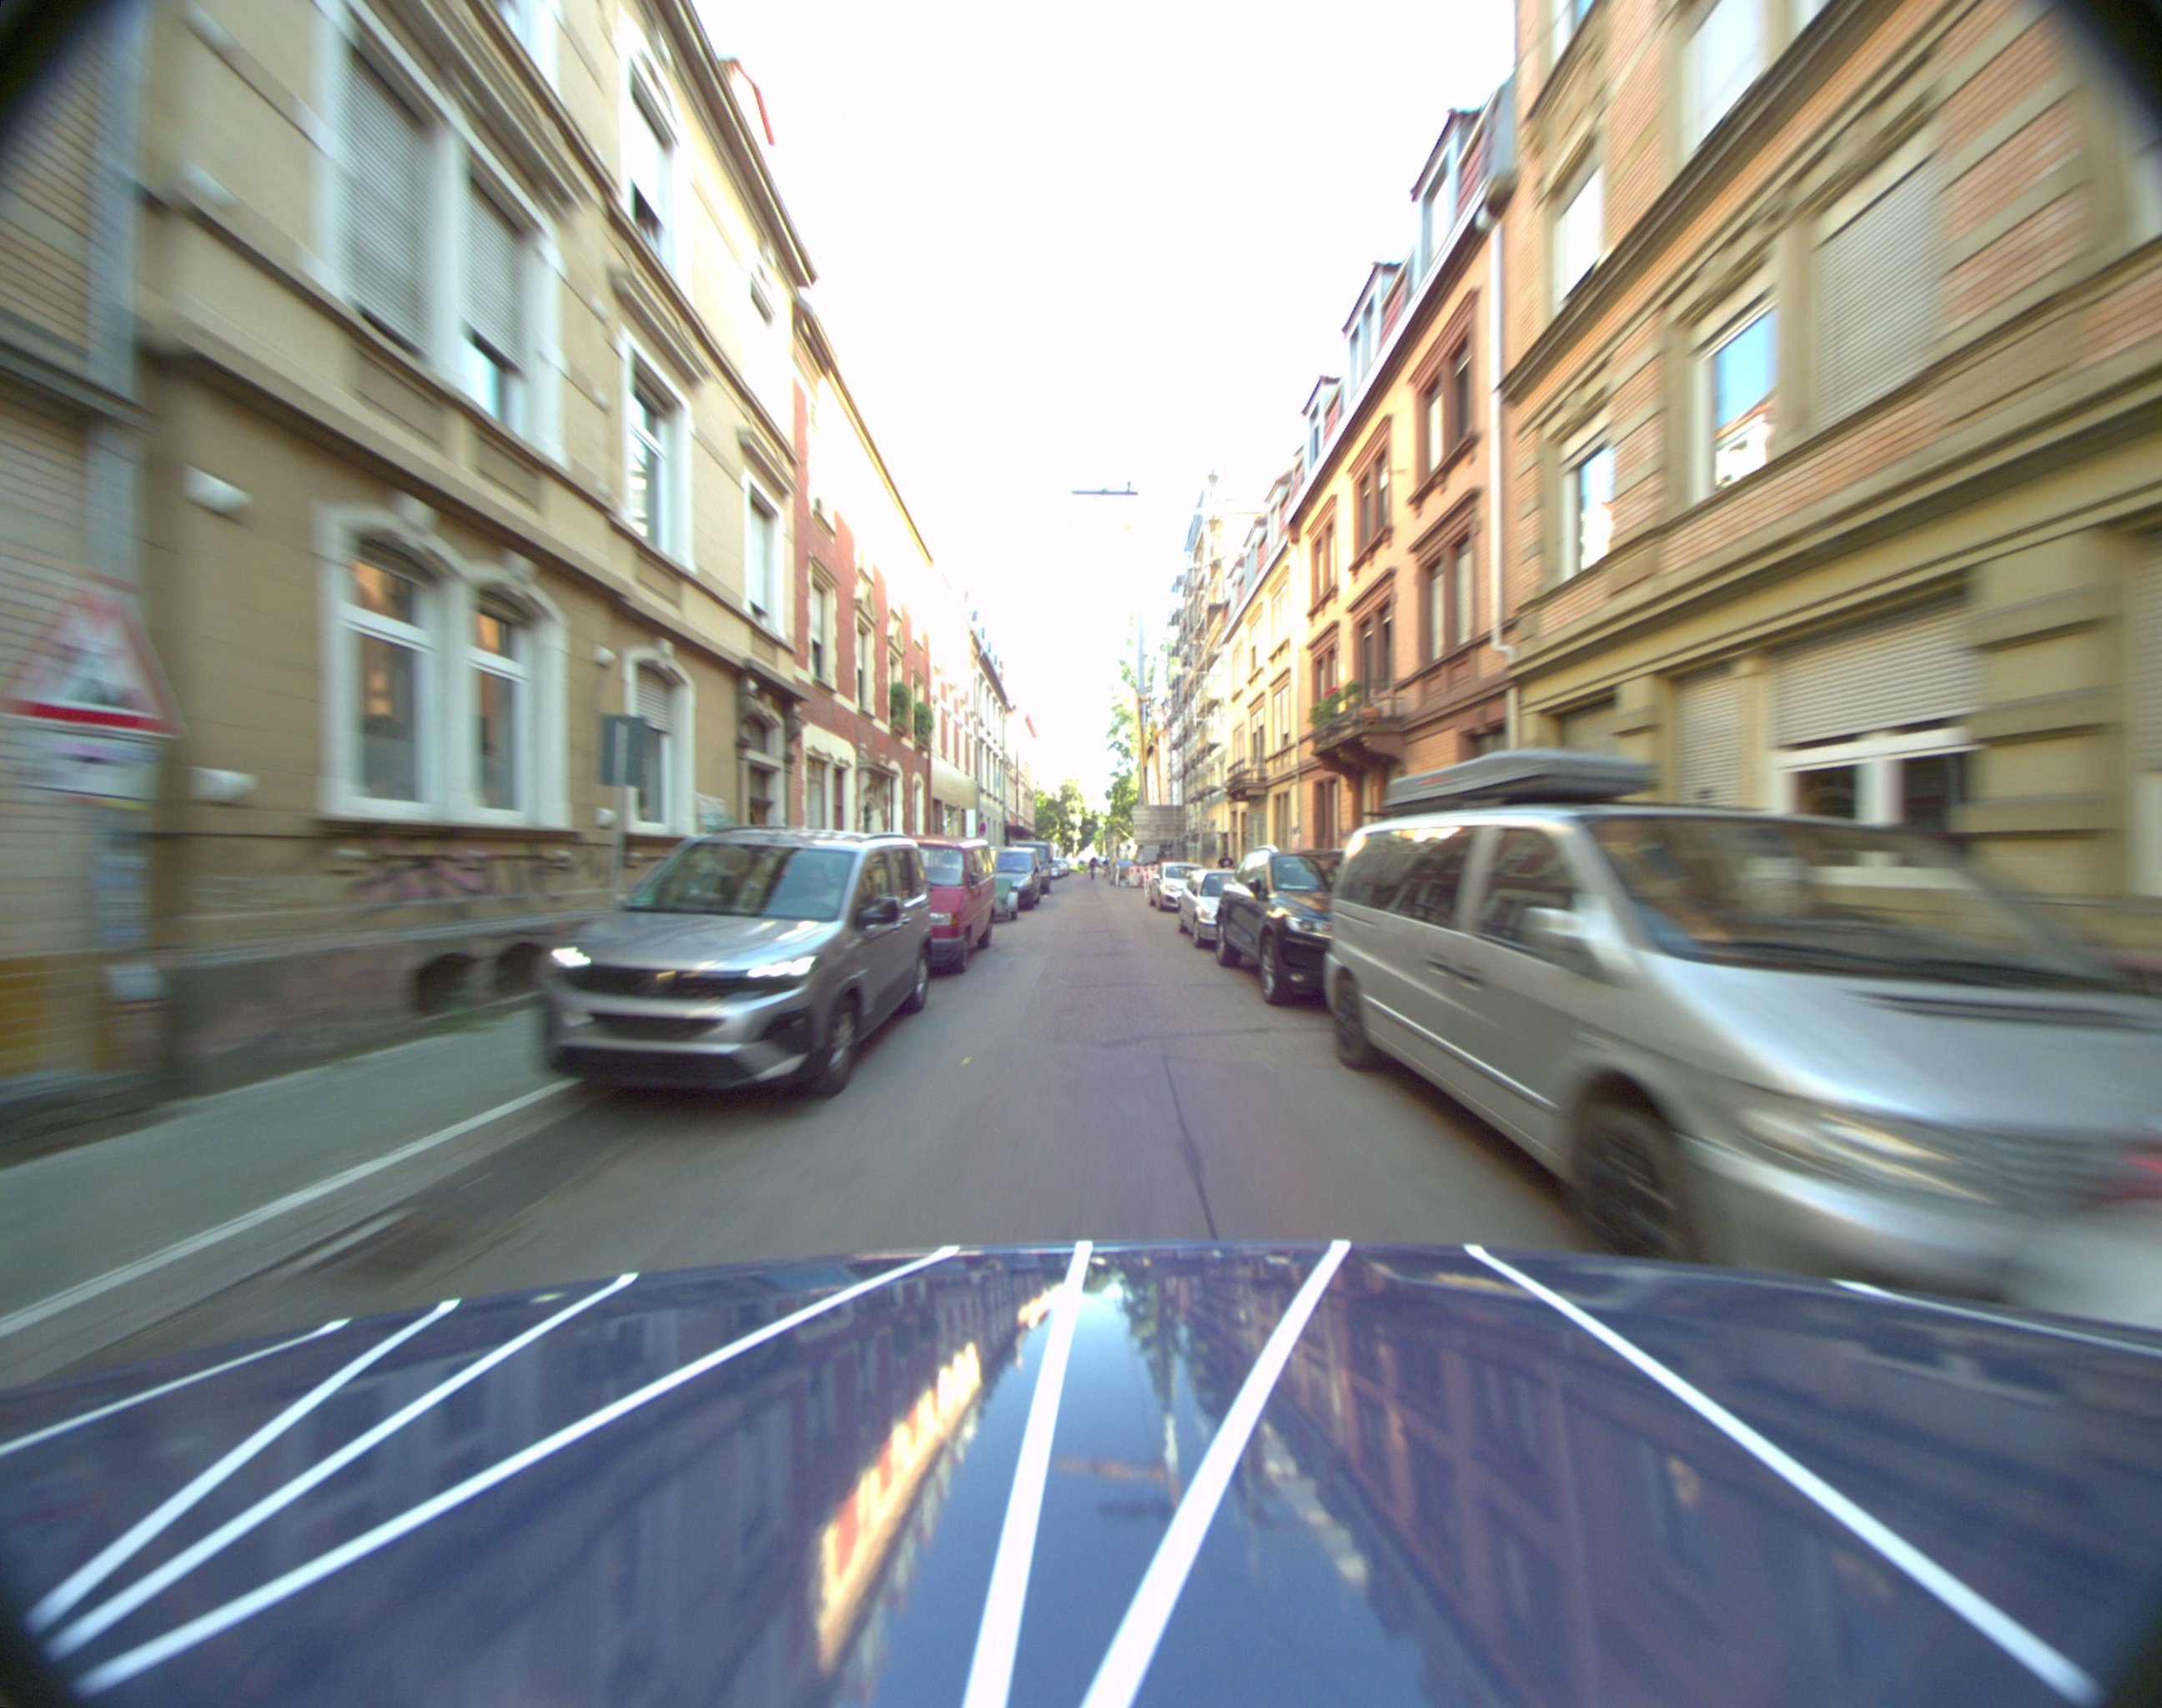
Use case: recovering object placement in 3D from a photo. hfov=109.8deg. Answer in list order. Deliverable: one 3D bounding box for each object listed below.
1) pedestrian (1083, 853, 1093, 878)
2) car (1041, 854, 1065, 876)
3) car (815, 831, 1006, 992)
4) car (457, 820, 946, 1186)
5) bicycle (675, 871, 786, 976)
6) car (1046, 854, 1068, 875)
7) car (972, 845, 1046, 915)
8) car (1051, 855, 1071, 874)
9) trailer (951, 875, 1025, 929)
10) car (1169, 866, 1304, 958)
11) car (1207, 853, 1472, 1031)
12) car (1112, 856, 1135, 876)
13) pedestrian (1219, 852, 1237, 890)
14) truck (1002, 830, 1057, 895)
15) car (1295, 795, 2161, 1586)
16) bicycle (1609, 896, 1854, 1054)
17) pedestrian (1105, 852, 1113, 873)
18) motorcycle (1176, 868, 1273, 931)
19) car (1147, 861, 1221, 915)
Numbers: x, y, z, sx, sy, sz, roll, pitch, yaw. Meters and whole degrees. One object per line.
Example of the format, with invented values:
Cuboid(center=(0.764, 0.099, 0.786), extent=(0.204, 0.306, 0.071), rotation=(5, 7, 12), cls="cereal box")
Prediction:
Cuboid(center=(0.491, 0.790, 53.258), extent=(0.740, 1.743, 0.997), rotation=(0, 0, 1), cls="pedestrian")
Cuboid(center=(-2.104, 0.842, 58.425), extent=(1.525, 1.525, 3.463), rotation=(5, 0, 1), cls="car")
Cuboid(center=(-2.413, 0.734, 12.086), extent=(1.836, 2.002, 4.741), rotation=(-2, 0, 1), cls="car")
Cuboid(center=(-2.443, 0.813, 6.263), extent=(1.774, 1.949, 4.264), rotation=(-2, 0, 1), cls="car")
Cuboid(center=(-4.951, 0.938, 10.865), extent=(0.728, 1.296, 1.692), rotation=(3, 0, 1), cls="bicycle")
Cuboid(center=(-1.984, 0.871, 63.220), extent=(1.603, 1.652, 4.060), rotation=(-2, 0, 1), cls="car")
Cuboid(center=(-2.226, 0.757, 24.538), extent=(1.849, 1.972, 4.576), rotation=(-2, 0, 0), cls="car")
Cuboid(center=(-1.749, 0.906, 68.969), extent=(1.603, 1.626, 3.774), rotation=(-2, 0, 1), cls="car")
Cuboid(center=(-2.325, 1.191, 19.557), extent=(1.508, 1.106, 3.039), rotation=(-4, 0, -1), cls="trailer")
Cuboid(center=(2.760, 0.979, 14.359), extent=(1.703, 1.306, 4.000), rotation=(-3, 1, 1), cls="car")
Cuboid(center=(2.806, 0.824, 9.435), extent=(1.792, 1.615, 4.608), rotation=(-2, 0, 1), cls="car")
Cuboid(center=(3.423, 0.923, 61.734), extent=(1.646, 1.483, 4.000), rotation=(-2, 0, 1), cls="car")
Cuboid(center=(5.094, 0.581, 26.343), extent=(0.451, 1.276, 0.647), rotation=(-2, 1, 1), cls="pedestrian")
Cuboid(center=(-2.291, 0.355, 35.292), extent=(2.154, 2.642, 6.252), rotation=(4, 0, -2), cls="truck")
Cuboid(center=(2.758, 0.809, 4.043), extent=(1.897, 1.774, 4.608), rotation=(4, 0, 1), cls="car")
Cuboid(center=(5.733, 1.003, 6.864), extent=(0.668, 1.118, 1.785), rotation=(-3, 0, 1), cls="bicycle")
Cuboid(center=(2.236, 0.695, 60.913), extent=(0.594, 1.634, 0.813), rotation=(2, 1, 0), cls="pedestrian")
Cuboid(center=(3.426, 1.057, 18.353), extent=(0.846, 1.352, 2.190), rotation=(2, 0, -42), cls="motorcycle")
Cuboid(center=(3.050, 0.969, 23.249), extent=(1.678, 1.410, 4.000), rotation=(1, 0, 0), cls="car")
